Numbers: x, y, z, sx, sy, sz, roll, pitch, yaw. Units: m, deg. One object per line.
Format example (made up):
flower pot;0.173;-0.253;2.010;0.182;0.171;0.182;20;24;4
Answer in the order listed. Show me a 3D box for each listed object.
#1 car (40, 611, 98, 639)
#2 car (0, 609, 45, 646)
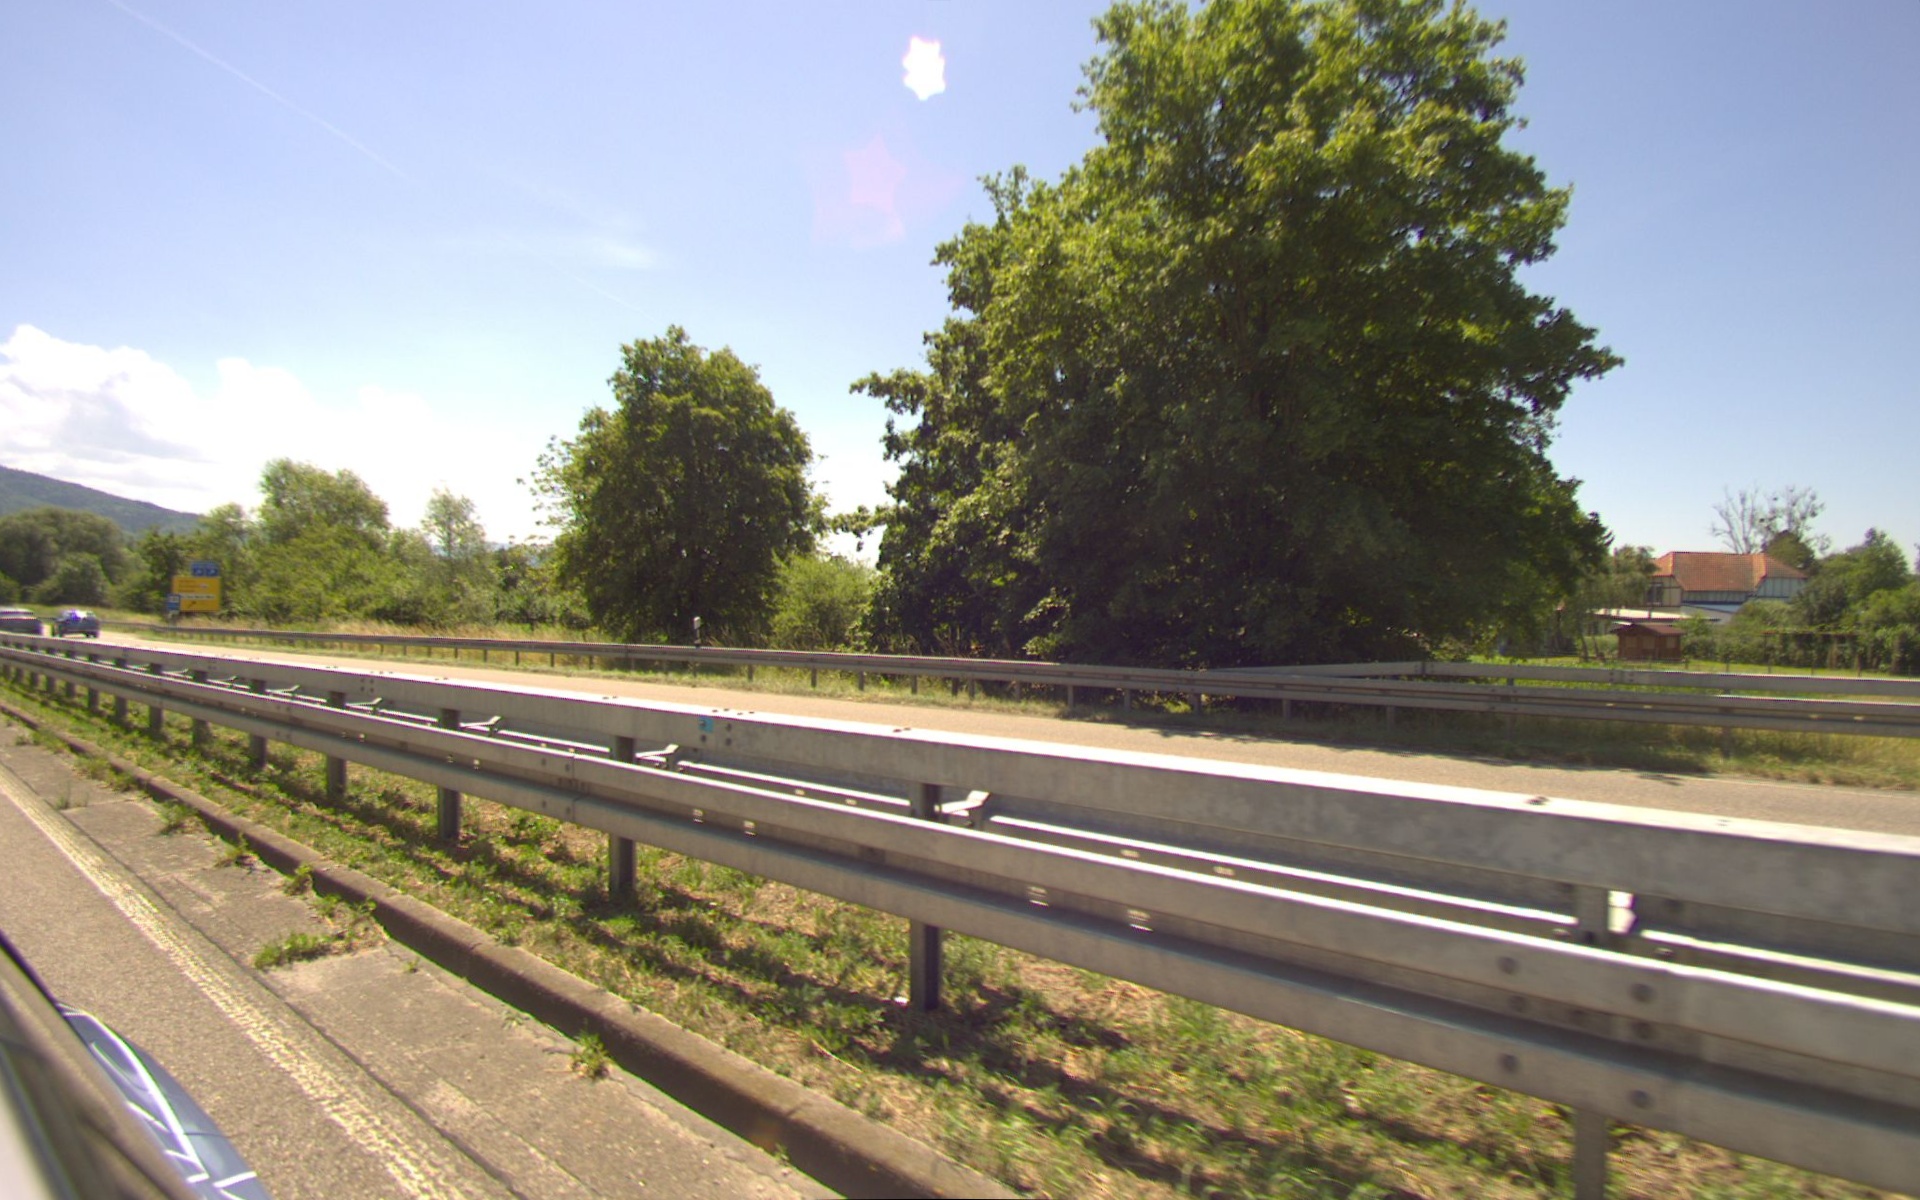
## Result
car;-50.453;1.420;57.283;4.925;1.555;1.793;-1;-2;41
car;-44.274;1.279;47.180;4.553;1.644;1.971;-1;-2;43
